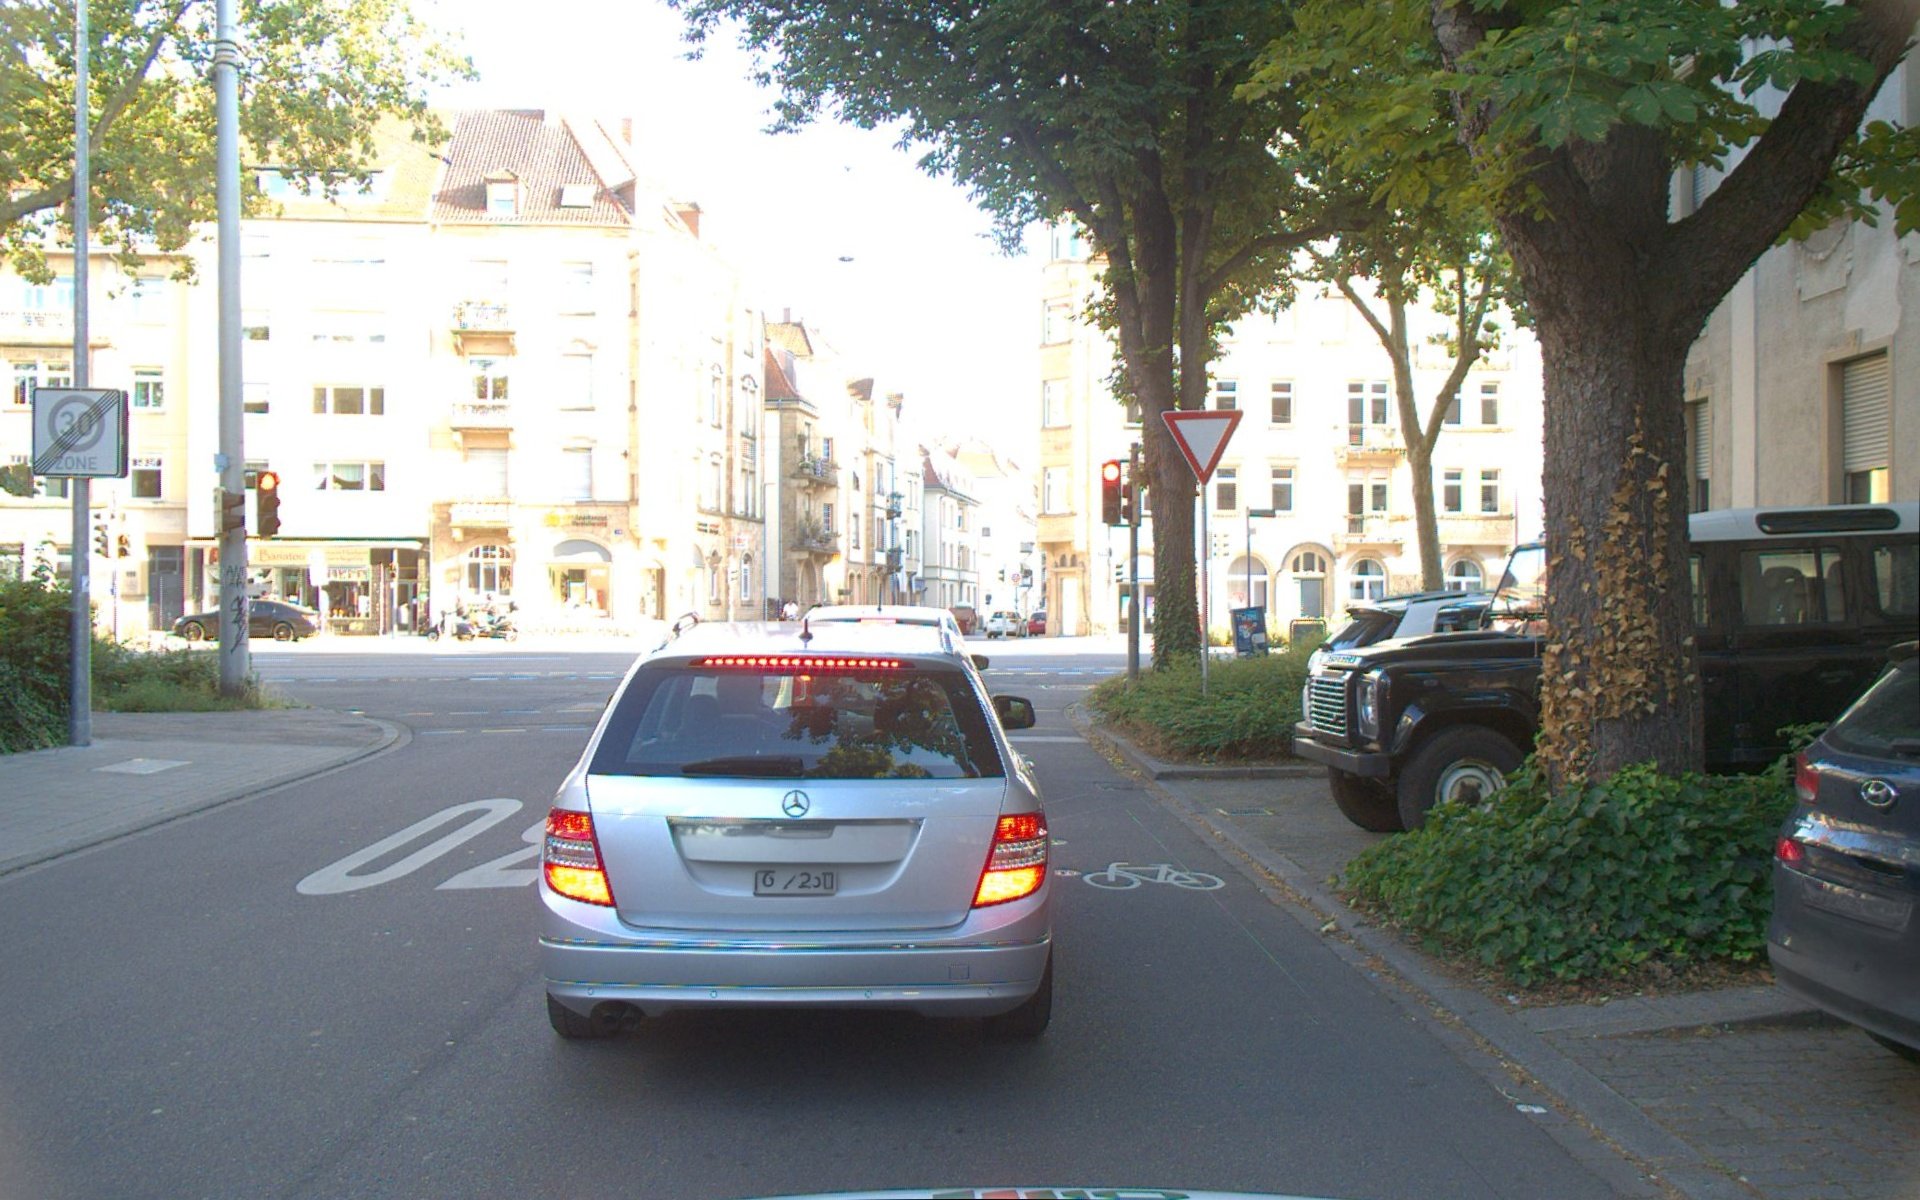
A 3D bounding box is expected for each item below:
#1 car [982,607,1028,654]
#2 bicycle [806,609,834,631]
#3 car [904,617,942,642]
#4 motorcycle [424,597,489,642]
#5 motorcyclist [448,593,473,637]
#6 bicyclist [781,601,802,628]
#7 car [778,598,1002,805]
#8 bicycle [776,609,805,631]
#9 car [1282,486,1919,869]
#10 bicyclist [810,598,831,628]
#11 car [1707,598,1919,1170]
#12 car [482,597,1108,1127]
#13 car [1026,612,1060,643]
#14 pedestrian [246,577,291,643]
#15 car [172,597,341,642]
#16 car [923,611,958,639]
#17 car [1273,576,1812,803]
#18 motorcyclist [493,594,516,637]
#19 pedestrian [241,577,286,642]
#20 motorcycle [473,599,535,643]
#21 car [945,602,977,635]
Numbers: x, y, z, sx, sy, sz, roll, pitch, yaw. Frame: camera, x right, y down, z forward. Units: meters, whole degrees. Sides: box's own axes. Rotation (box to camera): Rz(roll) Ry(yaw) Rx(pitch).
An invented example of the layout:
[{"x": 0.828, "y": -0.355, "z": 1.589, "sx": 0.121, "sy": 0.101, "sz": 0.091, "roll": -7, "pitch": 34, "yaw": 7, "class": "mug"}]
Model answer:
[{"x": 2.362, "y": 1.554, "z": 85.901, "sx": 1.987, "sy": 2.319, "sz": 4.003, "roll": 0, "pitch": 1, "yaw": 7, "class": "car"}, {"x": -6.202, "y": 0.885, "z": 73.356, "sx": 0.754, "sy": 0.950, "sz": 1.942, "roll": 1, "pitch": 0, "yaw": 10, "class": "bicycle"}, {"x": -2.263, "y": 1.824, "z": 102.459, "sx": 1.796, "sy": 1.427, "sz": 4.003, "roll": 0, "pitch": 1, "yaw": 7, "class": "car"}, {"x": -16.770, "y": 0.648, "z": 55.144, "sx": 1.993, "sy": 1.477, "sz": 0.568, "roll": 0, "pitch": 0, "yaw": -5, "class": "motorcycle"}, {"x": -16.664, "y": 0.493, "z": 55.154, "sx": 0.668, "sy": 1.477, "sz": 0.568, "roll": 0, "pitch": 0, "yaw": -5, "class": "motorcyclist"}, {"x": -7.480, "y": 0.645, "z": 73.327, "sx": 0.754, "sy": 1.177, "sz": 0.753, "roll": 1, "pitch": 0, "yaw": 10, "class": "bicyclist"}, {"x": -0.589, "y": 0.730, "z": 14.021, "sx": 1.587, "sy": 1.472, "sz": 4.342, "roll": 1, "pitch": 0, "yaw": -2, "class": "car"}, {"x": -7.498, "y": 0.871, "z": 73.249, "sx": 0.754, "sy": 0.956, "sz": 1.942, "roll": 1, "pitch": 0, "yaw": 10, "class": "bicycle"}, {"x": 4.371, "y": 0.413, "z": 10.172, "sx": 4.377, "sy": 2.072, "sz": 1.699, "roll": -1, "pitch": 0, "yaw": -4, "class": "car"}, {"x": -6.200, "y": 0.586, "z": 73.357, "sx": 0.754, "sy": 1.312, "sz": 0.753, "roll": 1, "pitch": 0, "yaw": 10, "class": "bicyclist"}, {"x": 4.286, "y": 0.703, "z": 4.593, "sx": 3.650, "sy": 1.477, "sz": 1.707, "roll": -1, "pitch": 0, "yaw": -4, "class": "car"}, {"x": -0.549, "y": 0.740, "z": 6.931, "sx": 1.741, "sy": 1.477, "sz": 4.546, "roll": 1, "pitch": 0, "yaw": -2, "class": "car"}, {"x": 5.127, "y": 1.656, "z": 101.974, "sx": 1.796, "sy": 1.775, "sz": 4.003, "roll": 0, "pitch": 1, "yaw": 7, "class": "car"}, {"x": -26.388, "y": 0.372, "z": 63.122, "sx": 1.320, "sy": 2.507, "sz": 1.059, "roll": 0, "pitch": 0, "yaw": -5, "class": "pedestrian"}, {"x": -23.298, "y": 0.639, "z": 54.894, "sx": 4.788, "sy": 1.477, "sz": 1.857, "roll": 0, "pitch": 0, "yaw": -5, "class": "car"}, {"x": -1.259, "y": 1.635, "z": 108.707, "sx": 1.796, "sy": 1.692, "sz": 4.003, "roll": 0, "pitch": 1, "yaw": 7, "class": "car"}, {"x": 4.513, "y": 0.660, "z": 13.139, "sx": 3.650, "sy": 1.597, "sz": 1.707, "roll": -1, "pitch": 0, "yaw": -4, "class": "car"}, {"x": -15.584, "y": 0.535, "z": 56.624, "sx": 0.668, "sy": 1.477, "sz": 0.568, "roll": 0, "pitch": 0, "yaw": -5, "class": "motorcyclist"}, {"x": -27.280, "y": 0.375, "z": 64.808, "sx": 1.320, "sy": 2.507, "sz": 1.059, "roll": 0, "pitch": 0, "yaw": -5, "class": "pedestrian"}, {"x": -15.605, "y": 0.703, "z": 56.625, "sx": 1.993, "sy": 1.477, "sz": 0.568, "roll": 0, "pitch": 0, "yaw": -5, "class": "motorcycle"}, {"x": 0.094, "y": 1.282, "z": 117.321, "sx": 1.749, "sy": 2.242, "sz": 4.003, "roll": 0, "pitch": 1, "yaw": 7, "class": "car"}]
